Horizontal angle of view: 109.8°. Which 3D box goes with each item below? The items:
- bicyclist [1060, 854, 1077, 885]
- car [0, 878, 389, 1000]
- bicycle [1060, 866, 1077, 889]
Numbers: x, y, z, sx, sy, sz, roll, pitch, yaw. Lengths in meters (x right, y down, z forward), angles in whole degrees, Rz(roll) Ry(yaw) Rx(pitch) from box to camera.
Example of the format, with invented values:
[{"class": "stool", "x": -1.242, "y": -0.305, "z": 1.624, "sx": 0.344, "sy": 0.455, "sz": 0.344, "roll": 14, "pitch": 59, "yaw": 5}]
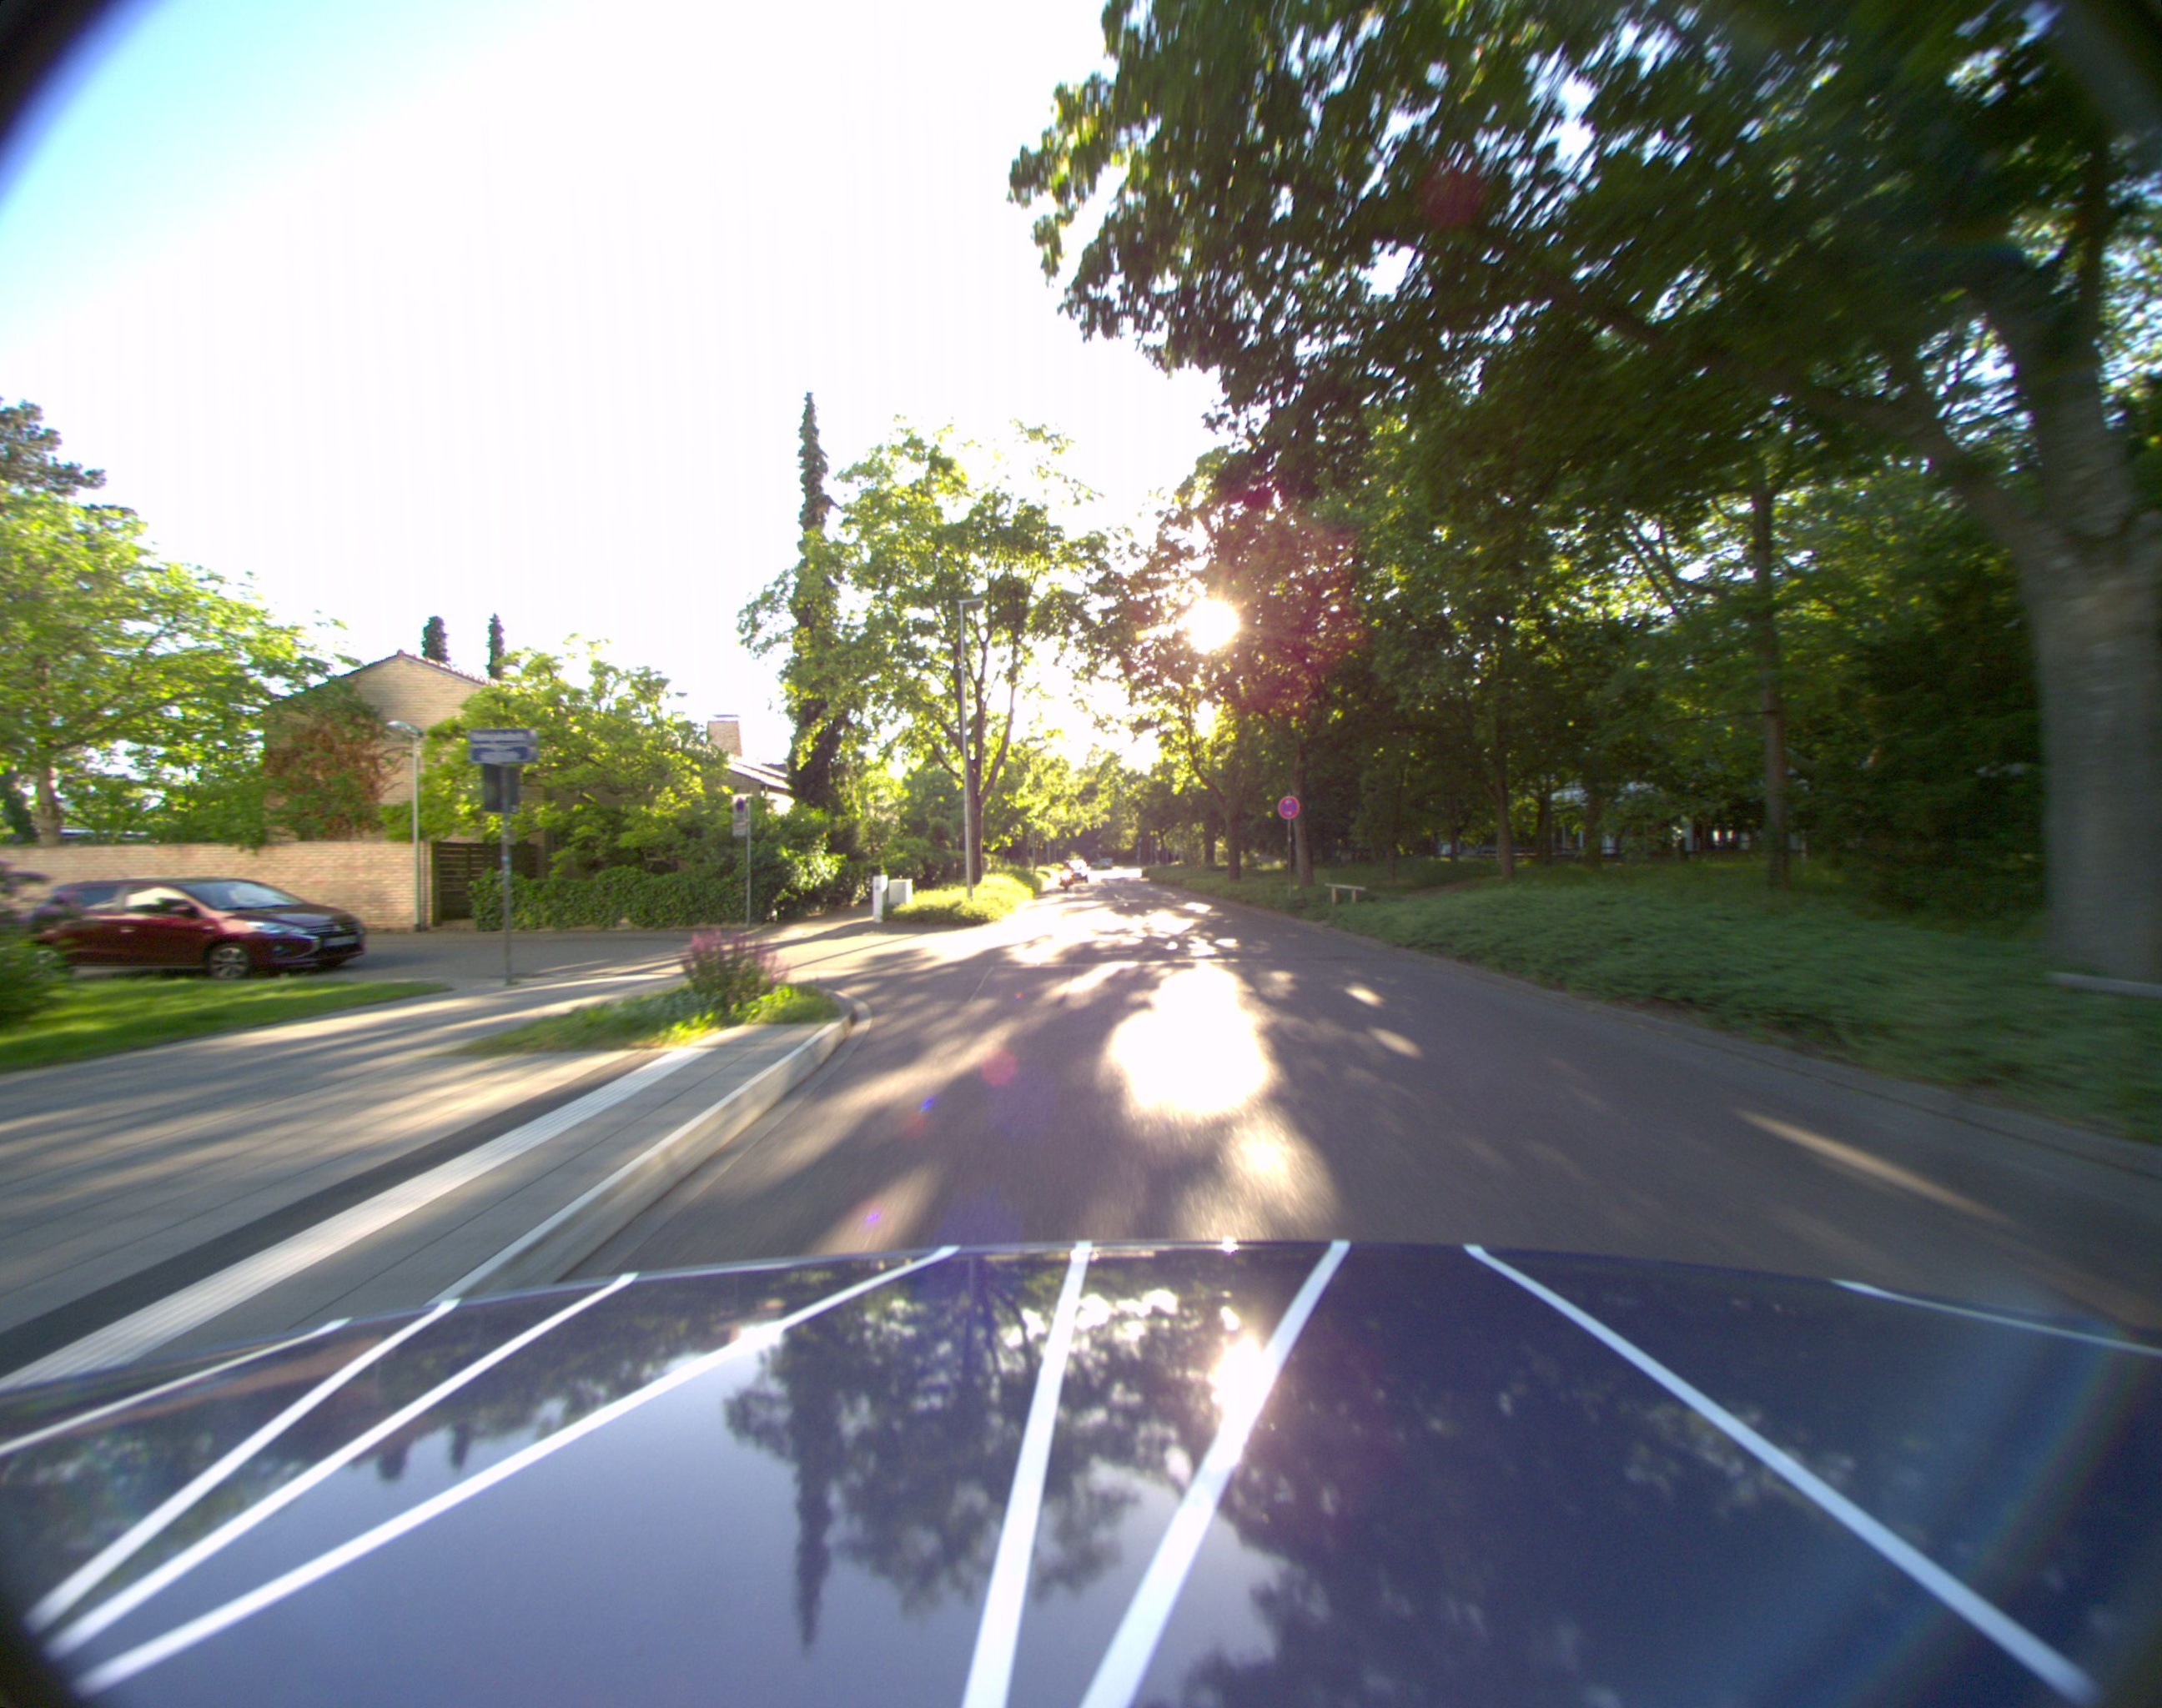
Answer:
[{"class": "bicyclist", "x": -0.690, "y": 0.845, "z": 41.364, "sx": 0.819, "sy": 1.635, "sz": 0.744, "roll": -3, "pitch": 1, "yaw": -1}, {"class": "car", "x": -13.150, "y": 1.201, "z": 11.426, "sx": 3.742, "sy": 1.493, "sz": 1.690, "roll": -2, "pitch": 0, "yaw": -5}, {"class": "bicycle", "x": -0.669, "y": 1.252, "z": 41.432, "sx": 0.829, "sy": 1.182, "sz": 2.302, "roll": -2, "pitch": 0, "yaw": -1}]
